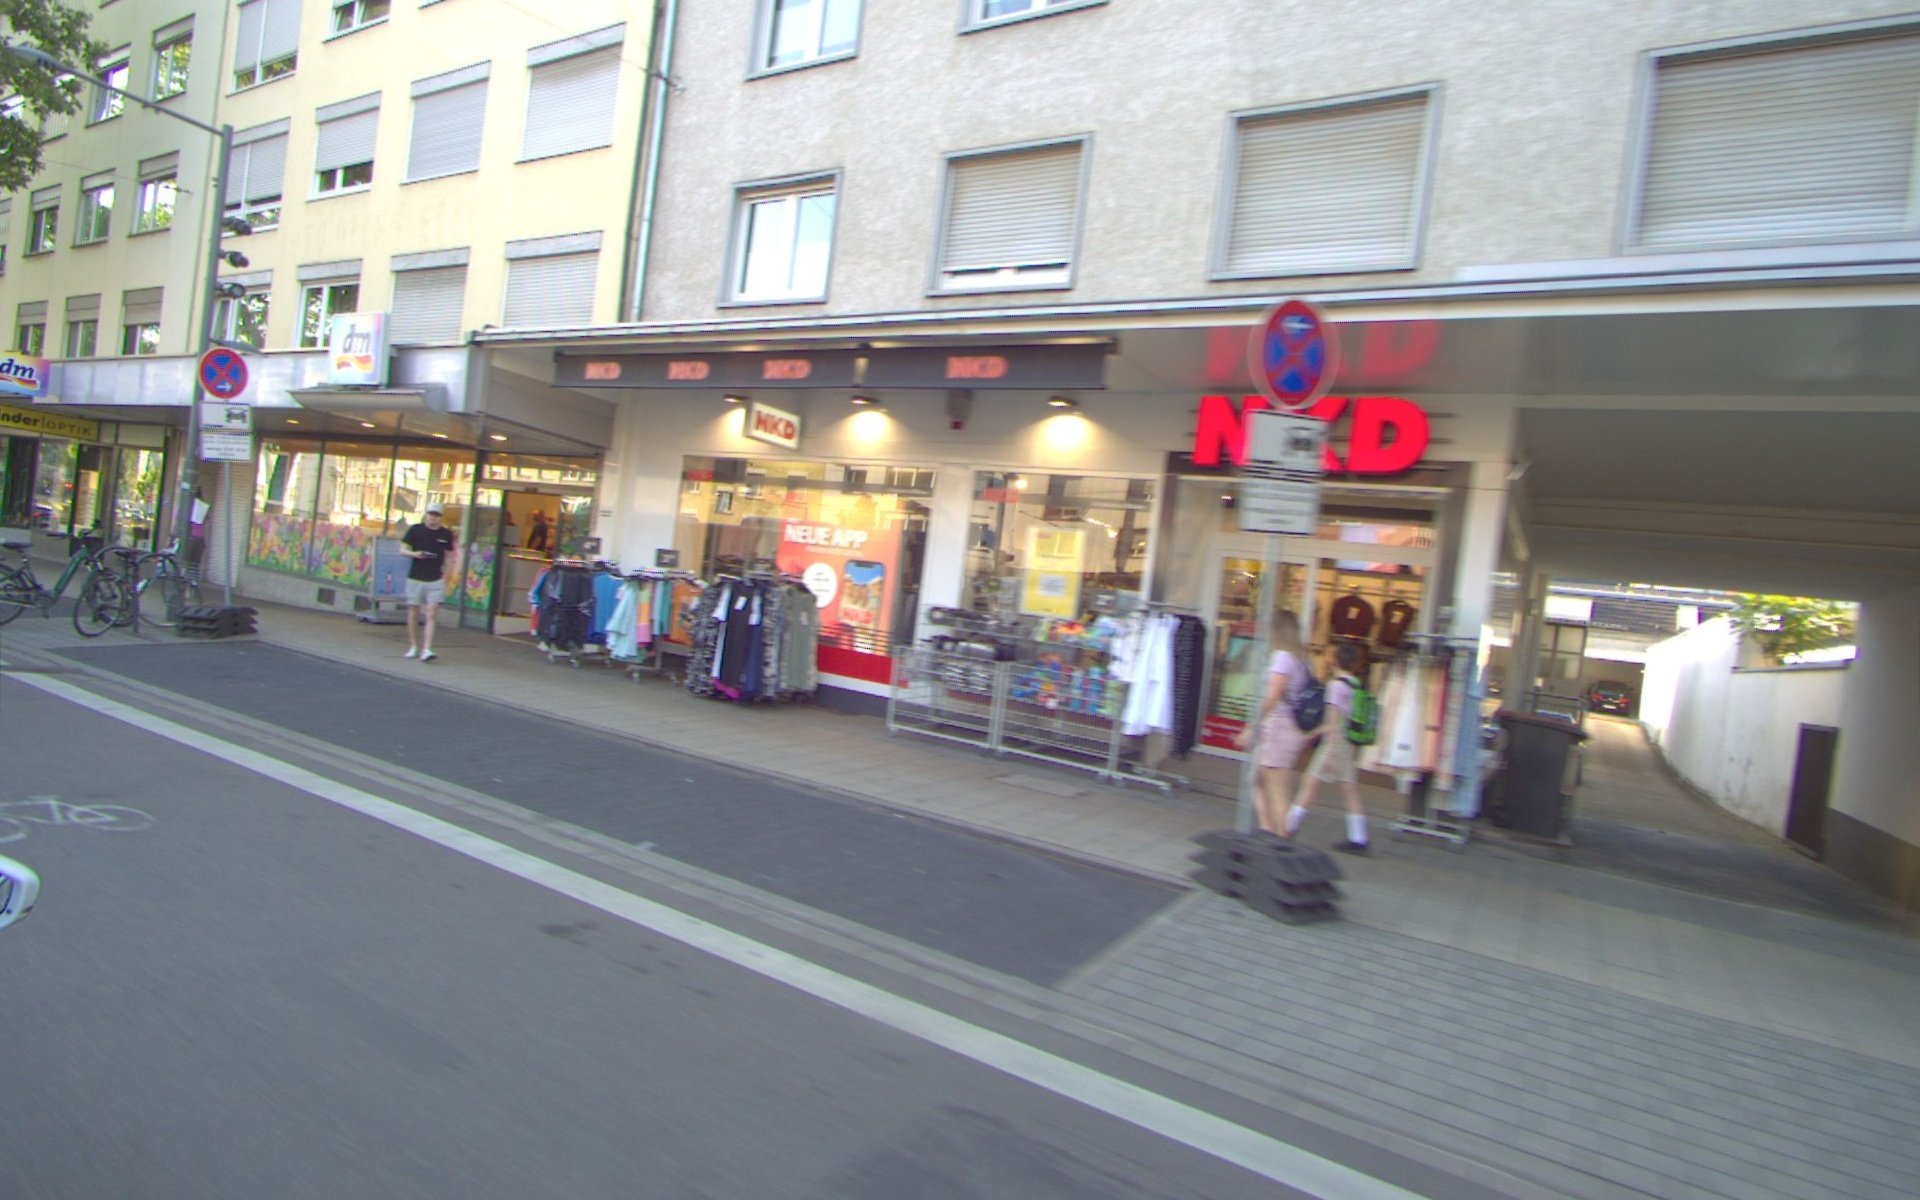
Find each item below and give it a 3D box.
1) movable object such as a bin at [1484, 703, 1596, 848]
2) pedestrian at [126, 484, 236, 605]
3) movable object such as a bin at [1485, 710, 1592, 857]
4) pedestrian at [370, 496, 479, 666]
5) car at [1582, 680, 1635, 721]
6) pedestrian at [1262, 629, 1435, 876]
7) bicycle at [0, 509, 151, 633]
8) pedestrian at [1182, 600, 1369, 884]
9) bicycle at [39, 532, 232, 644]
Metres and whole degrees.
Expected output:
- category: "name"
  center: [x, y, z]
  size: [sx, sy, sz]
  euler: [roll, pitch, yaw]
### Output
- category: "movable object such as a bin"
  center: [5.302, 1.598, 9.201]
  size: [0.709, 1.131, 0.771]
  euler: [9, -4, 32]
- category: "pedestrian"
  center: [-12.482, -0.881, 16.127]
  size: [1.115, 1.785, 0.968]
  euler: [6, 1, 31]
- category: "movable object such as a bin"
  center: [5.671, 1.785, 9.868]
  size: [0.757, 1.271, 0.592]
  euler: [7, -5, 32]
- category: "pedestrian"
  center: [-6.102, -0.220, 11.455]
  size: [0.918, 1.825, 0.770]
  euler: [9, 5, 44]
- category: "car"
  center: [32.246, 5.030, 50.057]
  size: [1.968, 1.658, 3.994]
  euler: [6, -3, 33]
- category: "pedestrian"
  center: [2.717, 1.020, 7.034]
  size: [0.881, 1.522, 0.541]
  euler: [8, 3, 31]
- category: "bicycle"
  center: [-10.416, -0.344, 11.454]
  size: [0.684, 1.331, 1.779]
  euler: [8, 6, 42]
- category: "pedestrian"
  center: [2.062, 0.882, 6.580]
  size: [0.881, 1.650, 0.546]
  euler: [8, 3, 31]
- category: "bicycle"
  center: [-9.398, -0.172, 11.560]
  size: [0.651, 1.141, 1.790]
  euler: [5, 4, 4]
